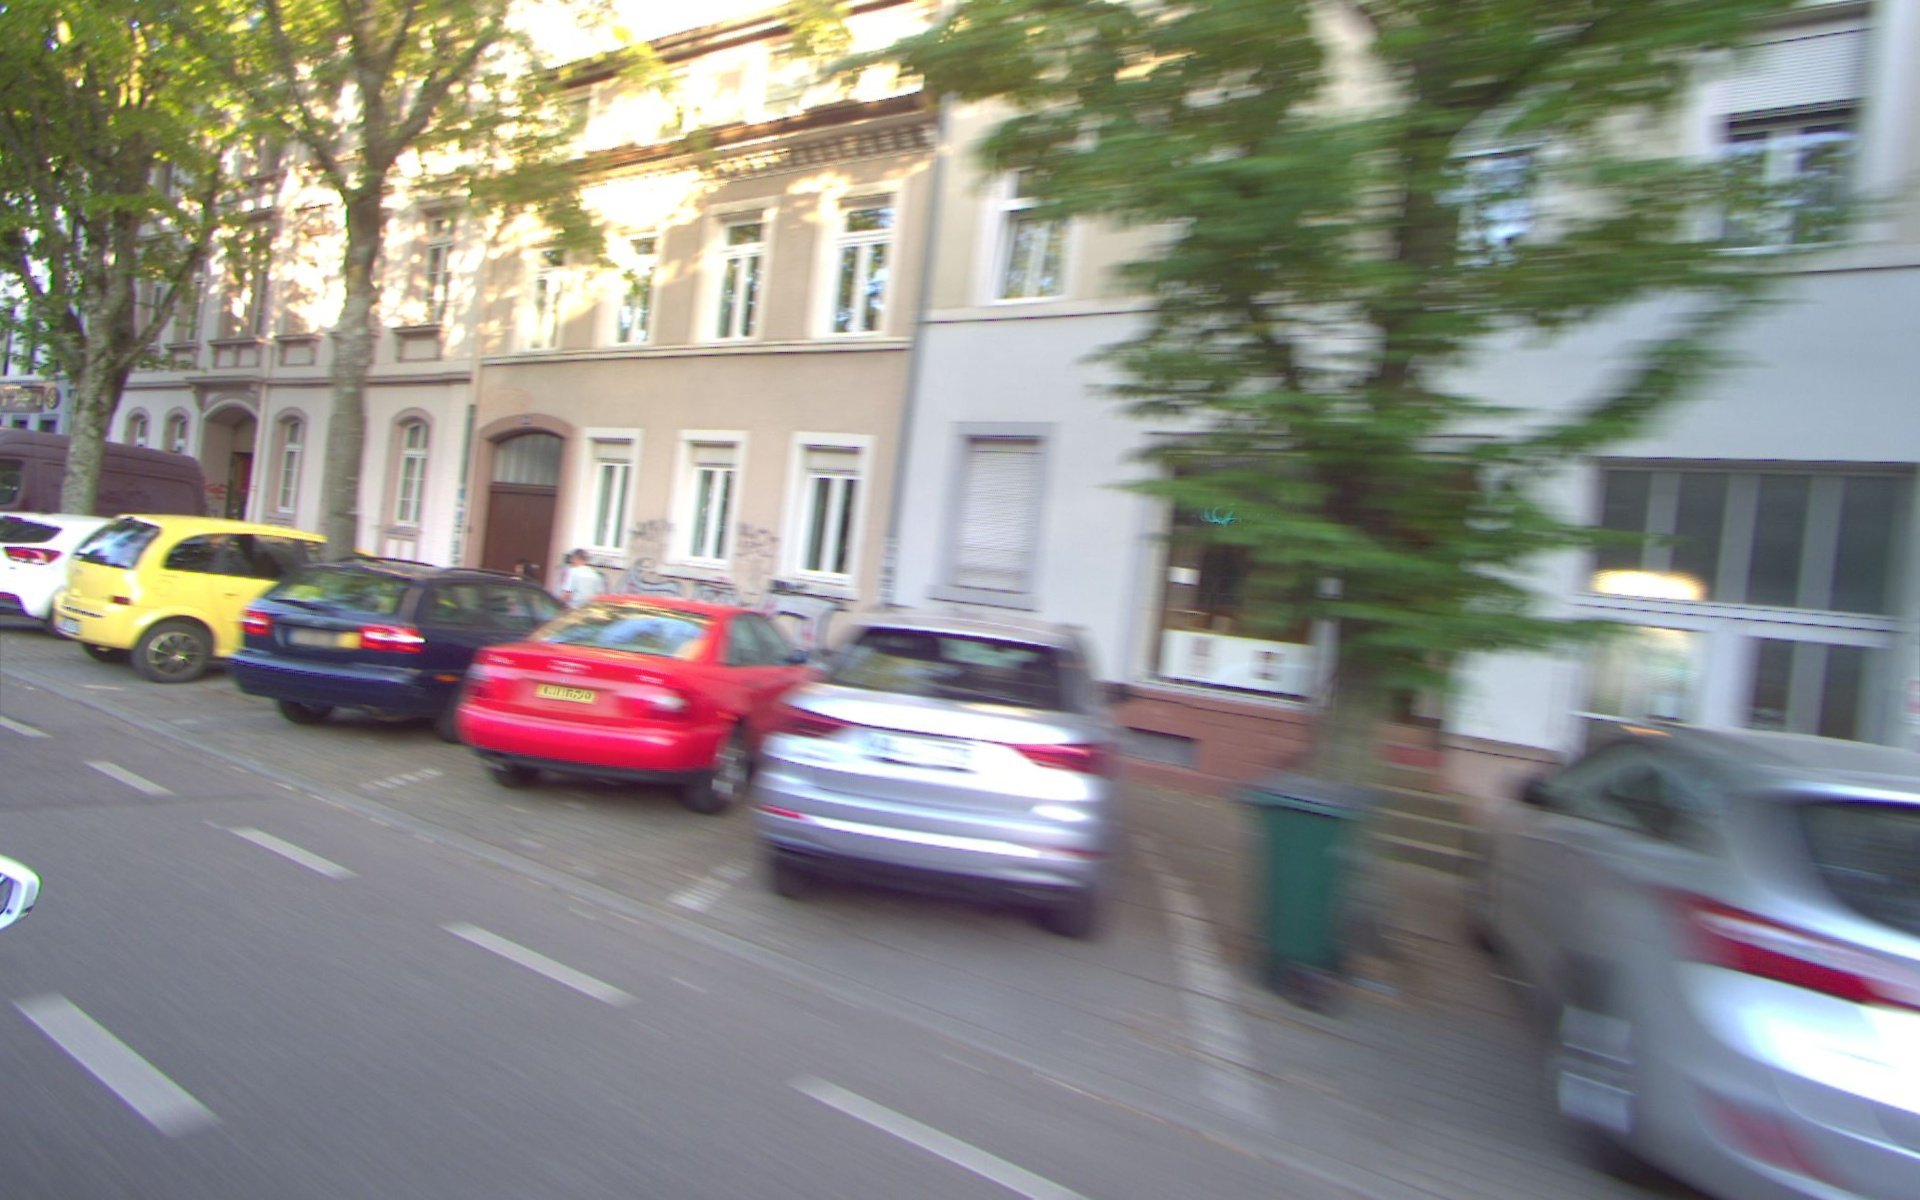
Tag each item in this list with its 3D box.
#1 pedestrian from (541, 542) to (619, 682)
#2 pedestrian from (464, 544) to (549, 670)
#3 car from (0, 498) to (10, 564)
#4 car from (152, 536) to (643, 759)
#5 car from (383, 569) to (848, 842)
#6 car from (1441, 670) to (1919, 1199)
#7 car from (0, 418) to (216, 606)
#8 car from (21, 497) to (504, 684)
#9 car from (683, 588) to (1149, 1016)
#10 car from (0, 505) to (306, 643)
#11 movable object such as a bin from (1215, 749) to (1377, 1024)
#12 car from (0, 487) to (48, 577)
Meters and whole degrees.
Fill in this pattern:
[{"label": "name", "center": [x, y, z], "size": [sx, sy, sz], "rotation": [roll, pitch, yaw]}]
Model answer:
[{"label": "pedestrian", "center": [-5.201, 0.169, 13.775], "size": [0.597, 1.836, 0.566], "rotation": [7, 0, 31]}, {"label": "pedestrian", "center": [-6.103, 0.095, 13.527], "size": [0.800, 1.587, 0.538], "rotation": [7, 0, 33]}, {"label": "car", "center": [-23.179, -1.746, 21.139], "size": [1.970, 1.480, 4.190], "rotation": [6, -1, 15]}, {"label": "car", "center": [-4.810, 0.374, 9.456], "size": [1.884, 1.442, 4.136], "rotation": [6, 0, 6]}, {"label": "car", "center": [-2.336, 0.657, 8.125], "size": [1.861, 1.442, 4.136], "rotation": [6, 0, 6]}, {"label": "car", "center": [3.424, 1.252, 4.243], "size": [1.982, 1.568, 4.263], "rotation": [6, 0, 21]}, {"label": "car", "center": [-14.840, -1.400, 15.542], "size": [1.983, 2.676, 5.112], "rotation": [6, 0, 15]}, {"label": "car", "center": [-7.540, -0.022, 11.284], "size": [1.889, 1.640, 3.954], "rotation": [6, 0, 32]}, {"label": "car", "center": [0.095, 0.872, 6.371], "size": [1.861, 1.580, 4.266], "rotation": [6, 0, 9]}, {"label": "car", "center": [-11.025, -0.330, 13.185], "size": [1.884, 1.505, 3.965], "rotation": [6, 0, 8]}, {"label": "movable object such as a bin", "center": [1.599, 1.295, 4.769], "size": [0.580, 0.995, 0.823], "rotation": [6, 2, 21]}, {"label": "car", "center": [-20.299, -1.537, 19.040], "size": [1.785, 1.728, 4.023], "rotation": [6, -1, 25]}]
